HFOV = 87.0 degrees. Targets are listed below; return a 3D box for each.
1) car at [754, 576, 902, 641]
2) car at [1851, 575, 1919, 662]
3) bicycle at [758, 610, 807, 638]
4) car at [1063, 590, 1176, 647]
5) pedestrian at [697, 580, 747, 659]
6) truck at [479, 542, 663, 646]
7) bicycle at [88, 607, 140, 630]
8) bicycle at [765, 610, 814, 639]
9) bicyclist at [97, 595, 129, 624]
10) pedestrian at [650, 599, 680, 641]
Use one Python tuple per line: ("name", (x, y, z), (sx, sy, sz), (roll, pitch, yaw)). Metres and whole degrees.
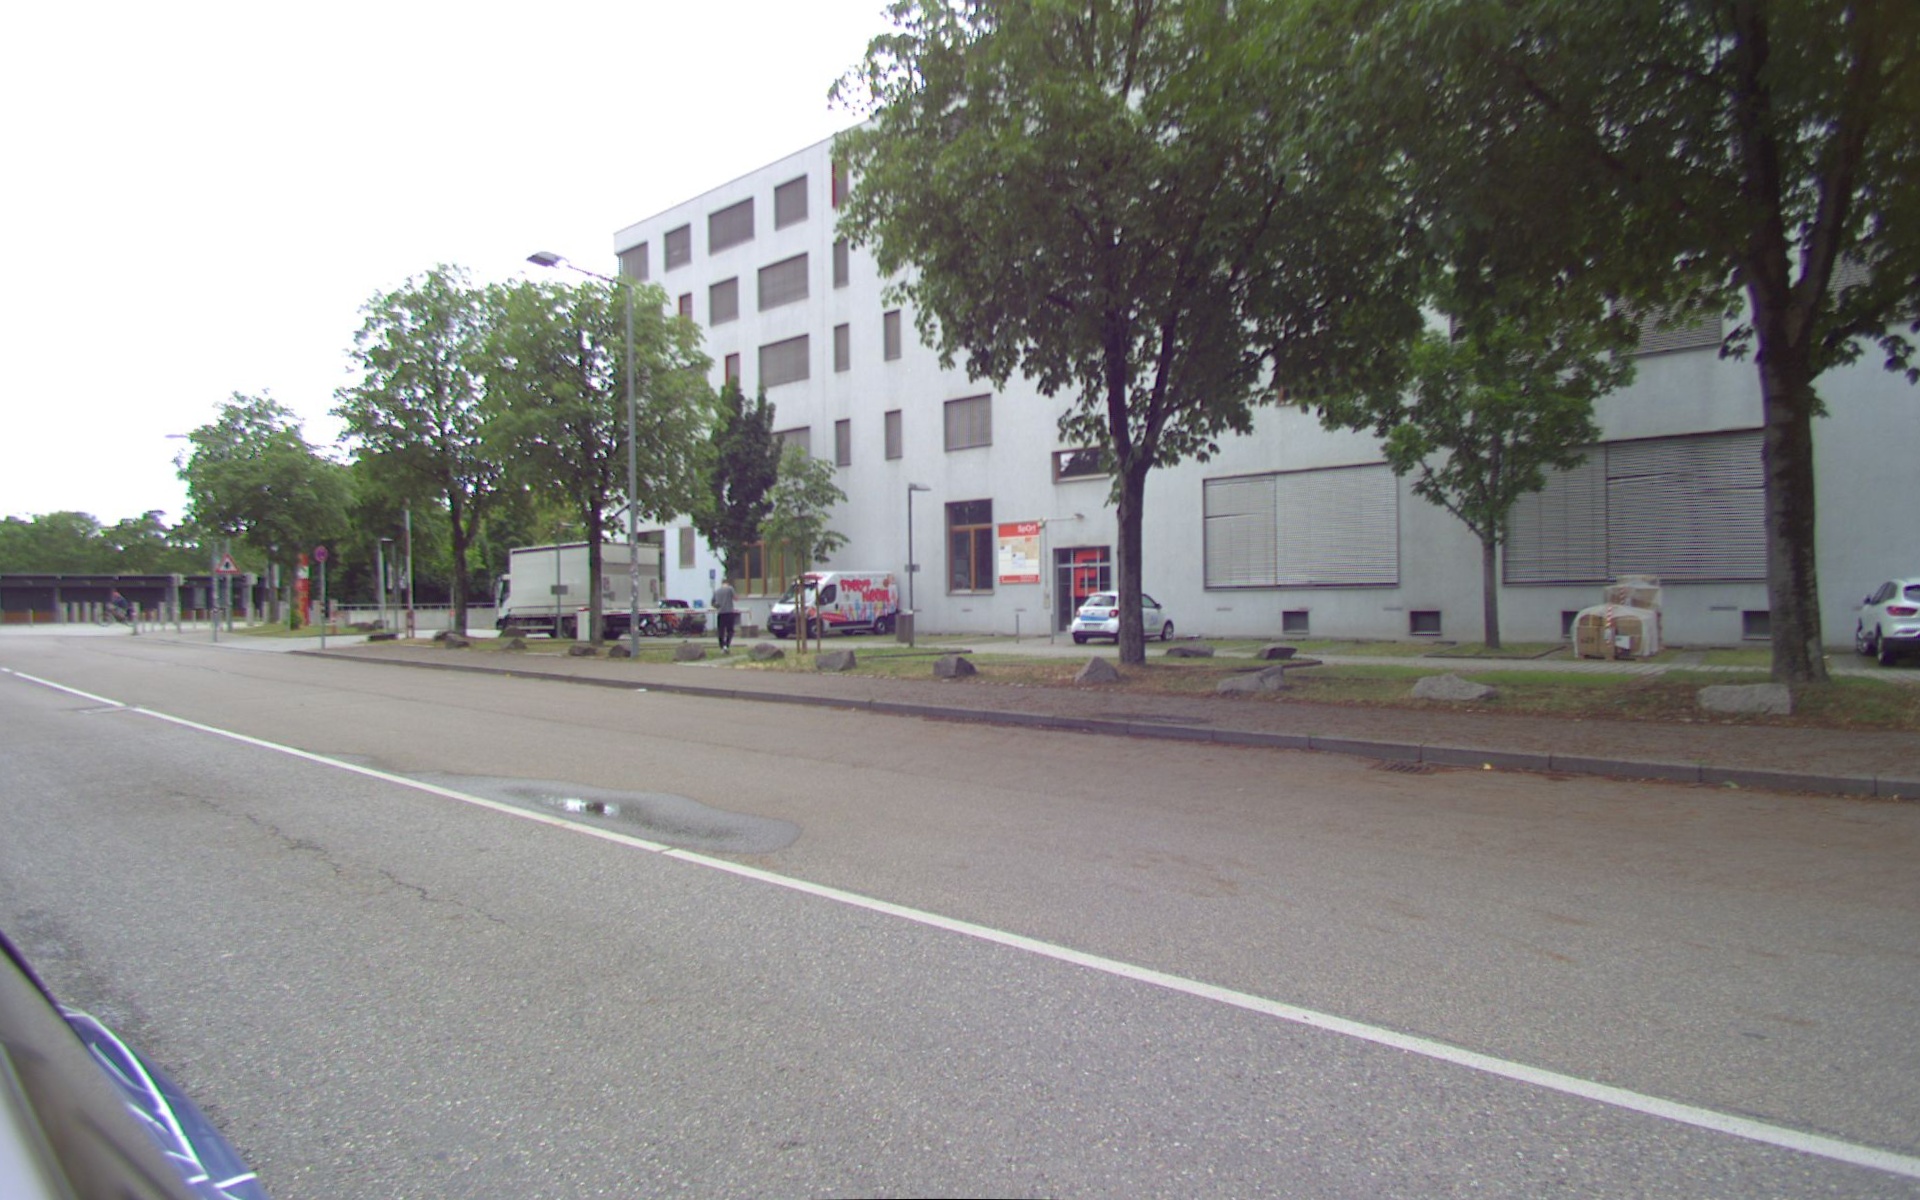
("car", (-4.864, 0.240, 38.103), (2.078, 2.296, 5.569), (0, 1, 40))
("car", (17.936, 0.286, 18.656), (1.896, 1.467, 3.962), (0, 1, 36))
("bicycle", (-7.249, 0.969, 41.443), (0.614, 1.078, 2.002), (0, 2, 44))
("car", (4.753, 0.500, 29.786), (1.691, 1.511, 3.575), (0, 1, 40))
("pedestrian", (-5.182, 0.401, 22.080), (0.778, 1.684, 0.843), (0, 1, 10))
("truck", (-15.044, -0.255, 38.790), (8.354, 3.627, 2.651), (0, 1, 38))
("bicycle", (-45.997, 0.989, 55.013), (0.775, 1.152, 2.028), (1, 2, 33))
("bicycle", (-6.872, 0.977, 40.884), (0.614, 1.078, 2.002), (0, 2, 44))
("bicyclist", (-46.016, 0.513, 54.983), (0.926, 1.507, 1.088), (1, 2, 35))
("pedestrian", (-11.511, 0.769, 39.480), (0.885, 1.618, 0.672), (0, 1, 34))
